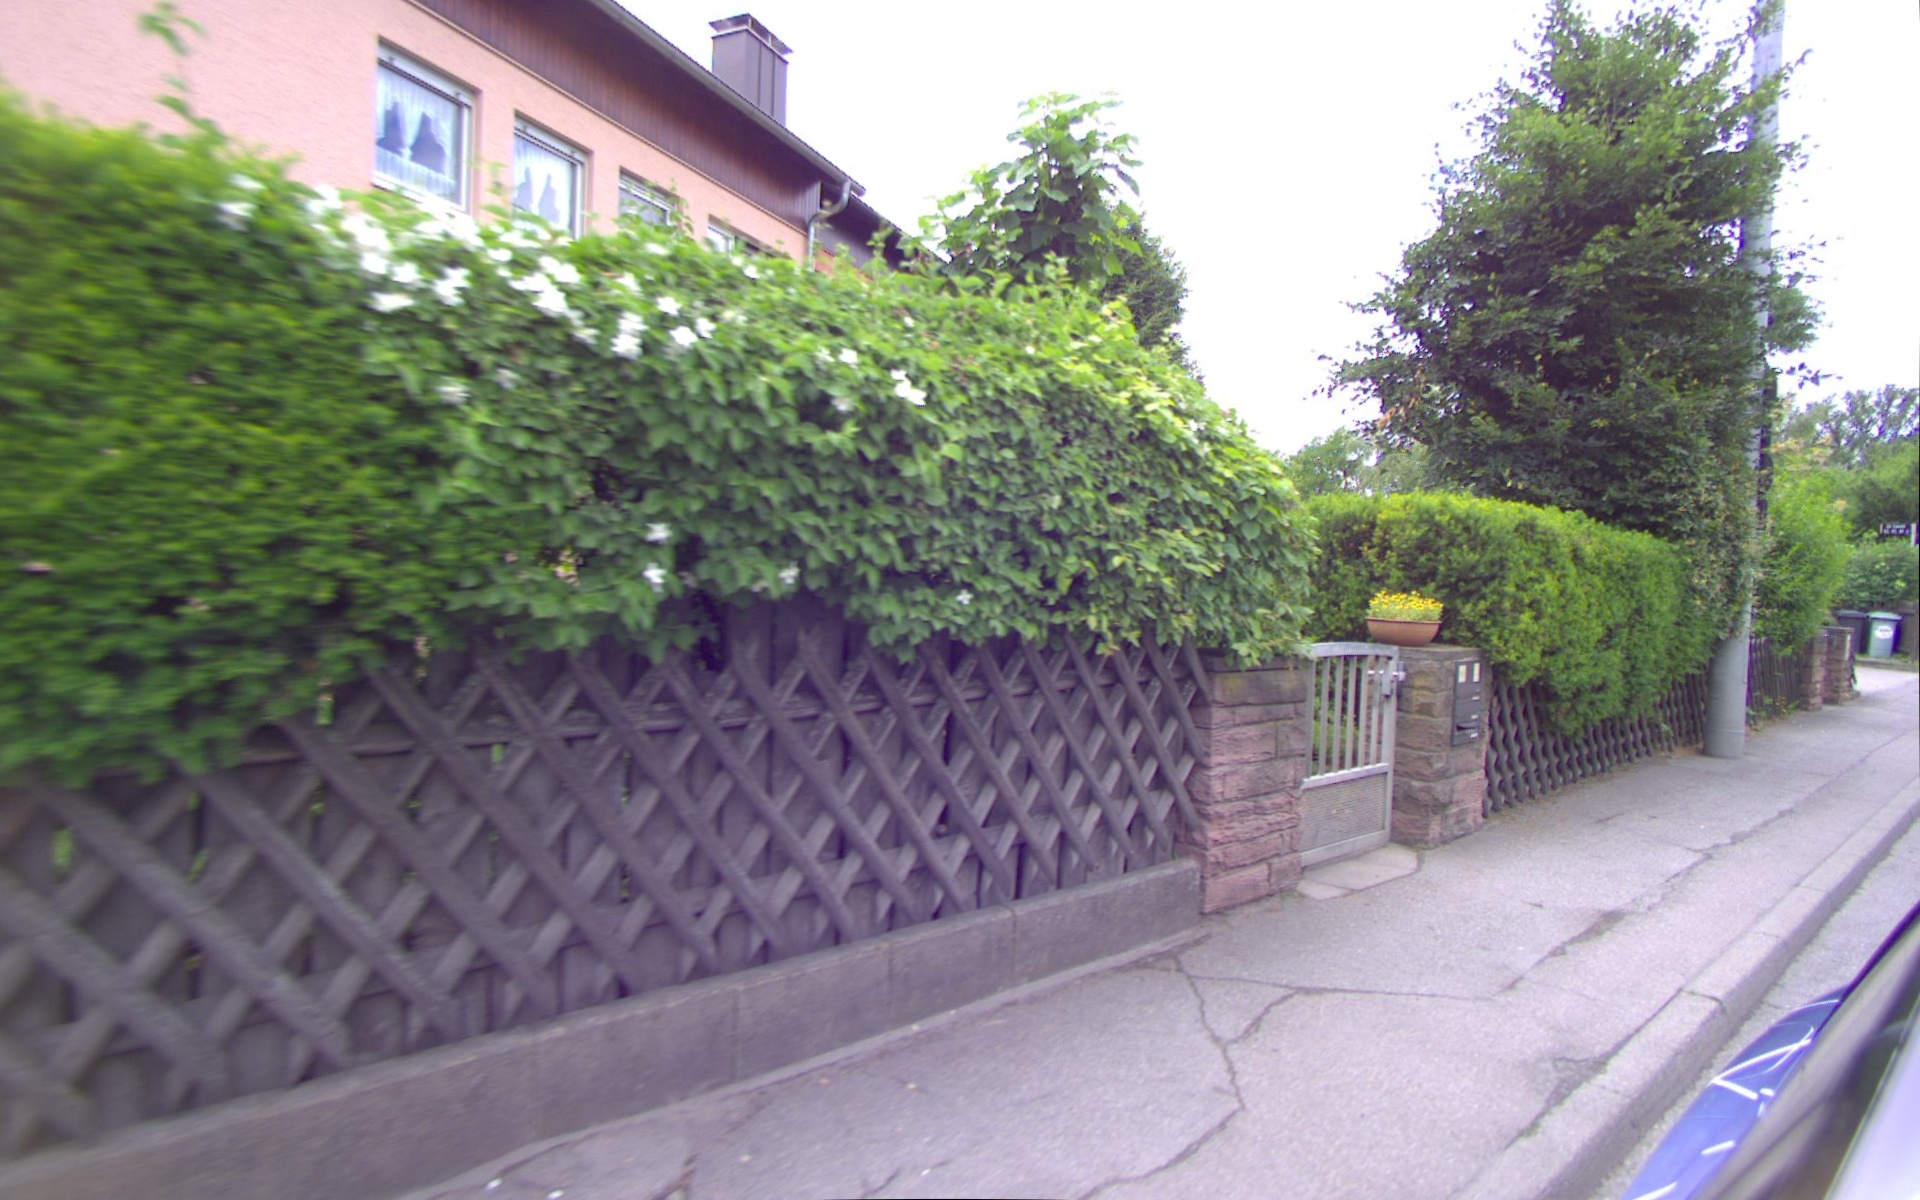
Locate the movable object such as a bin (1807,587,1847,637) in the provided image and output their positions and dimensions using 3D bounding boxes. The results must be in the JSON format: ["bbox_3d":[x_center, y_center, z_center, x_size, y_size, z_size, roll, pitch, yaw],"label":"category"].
[{"bbox_3d":[17.864,0.233,20.866,0.445,0.967,0.678,6,4,32],"label":"movable object such as a bin"}]

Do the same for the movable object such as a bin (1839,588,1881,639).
[{"bbox_3d":[18.285,0.271,20.560,0.445,0.967,0.678,6,4,32],"label":"movable object such as a bin"}]

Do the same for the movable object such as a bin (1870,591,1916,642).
[{"bbox_3d":[18.709,0.319,20.309,0.444,0.967,0.679,6,4,29],"label":"movable object such as a bin"}]
